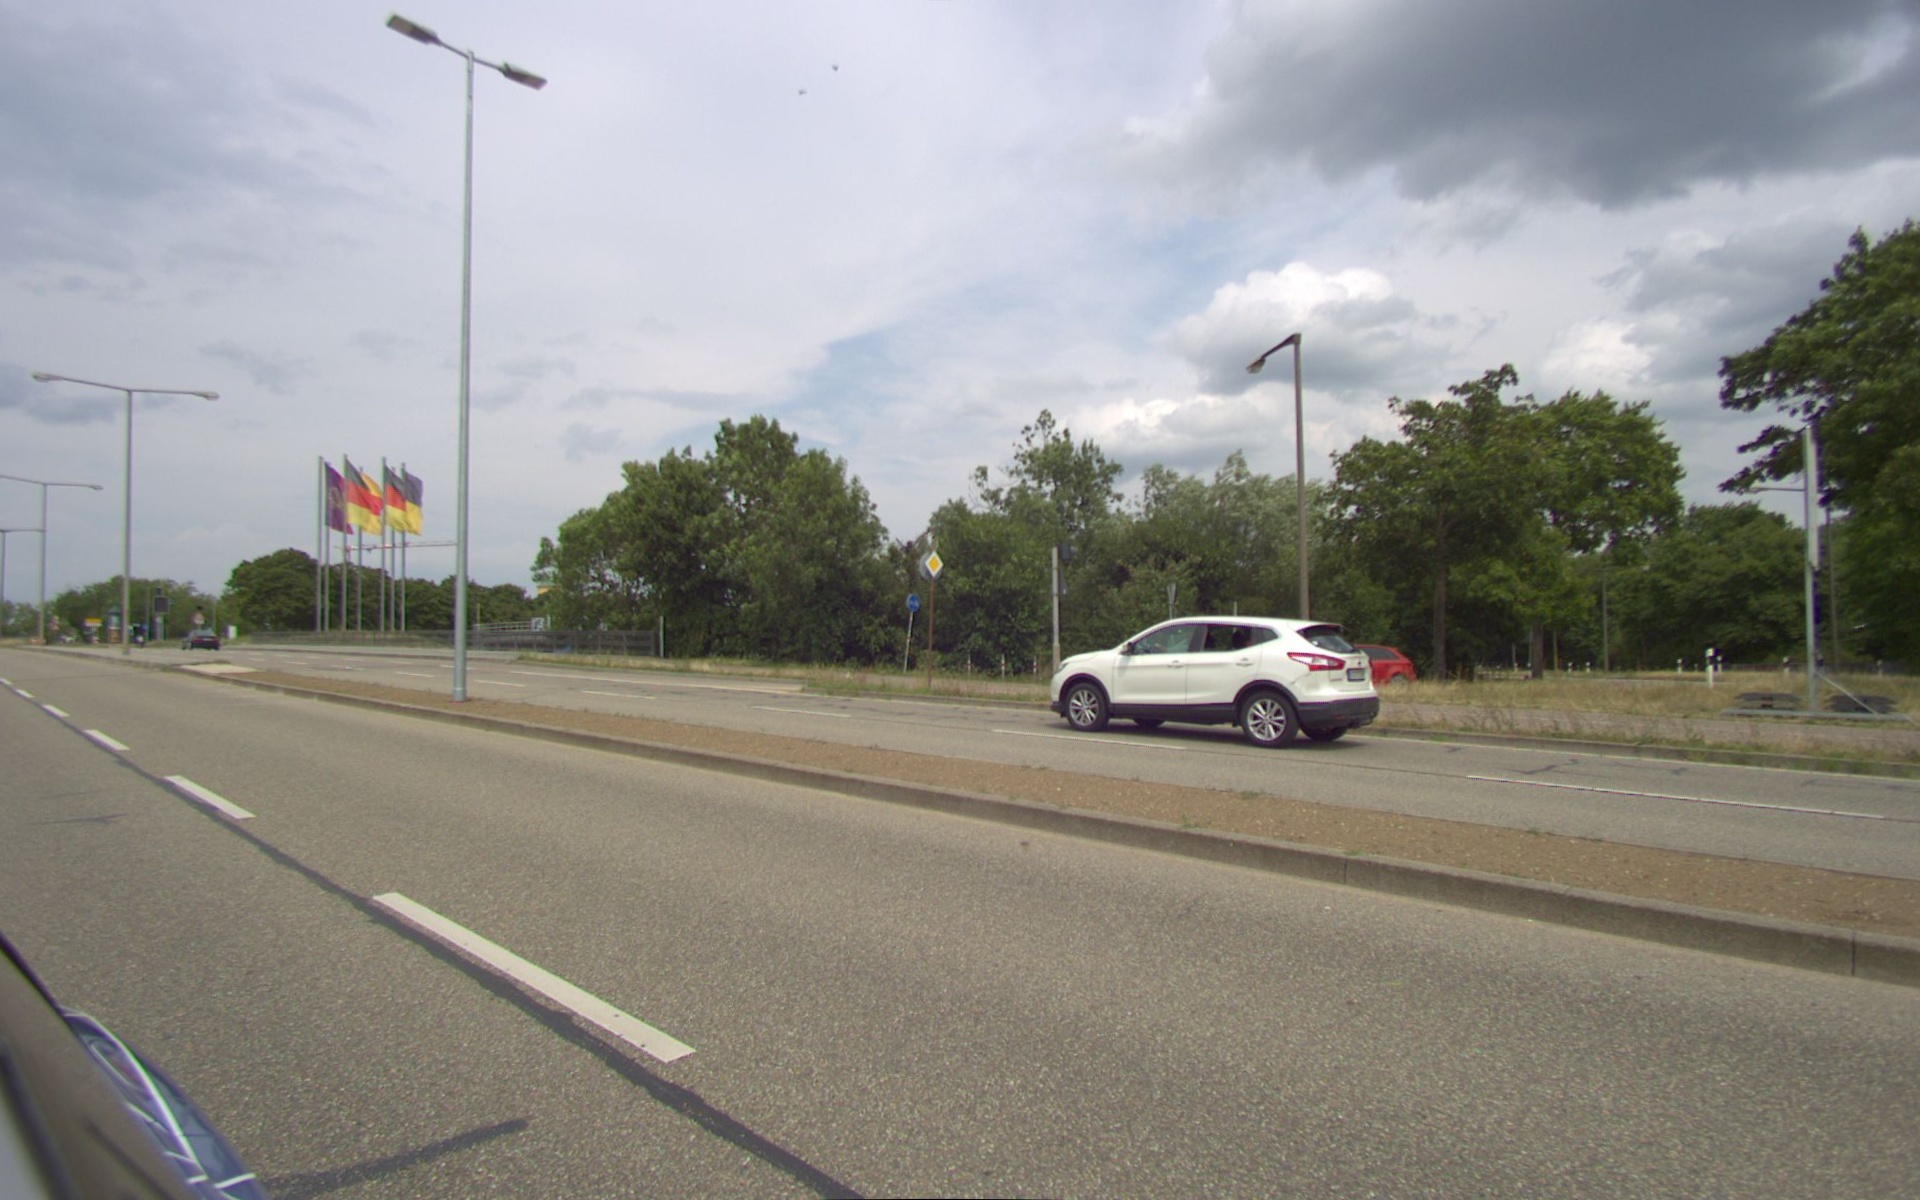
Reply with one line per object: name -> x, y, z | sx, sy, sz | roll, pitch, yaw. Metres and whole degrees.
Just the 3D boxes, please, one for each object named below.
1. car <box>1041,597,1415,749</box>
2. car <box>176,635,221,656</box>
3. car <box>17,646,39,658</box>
car -> 3.296, 0.881, 13.075 | 4.383, 1.641, 1.676 | -3, -3, 43
car -> -53.730, 3.213, 71.406 | 1.970, 1.384, 4.581 | 3, -3, -43
car -> -120.432, 6.765, 130.751 | 3.997, 1.505, 1.673 | -3, -4, 41
